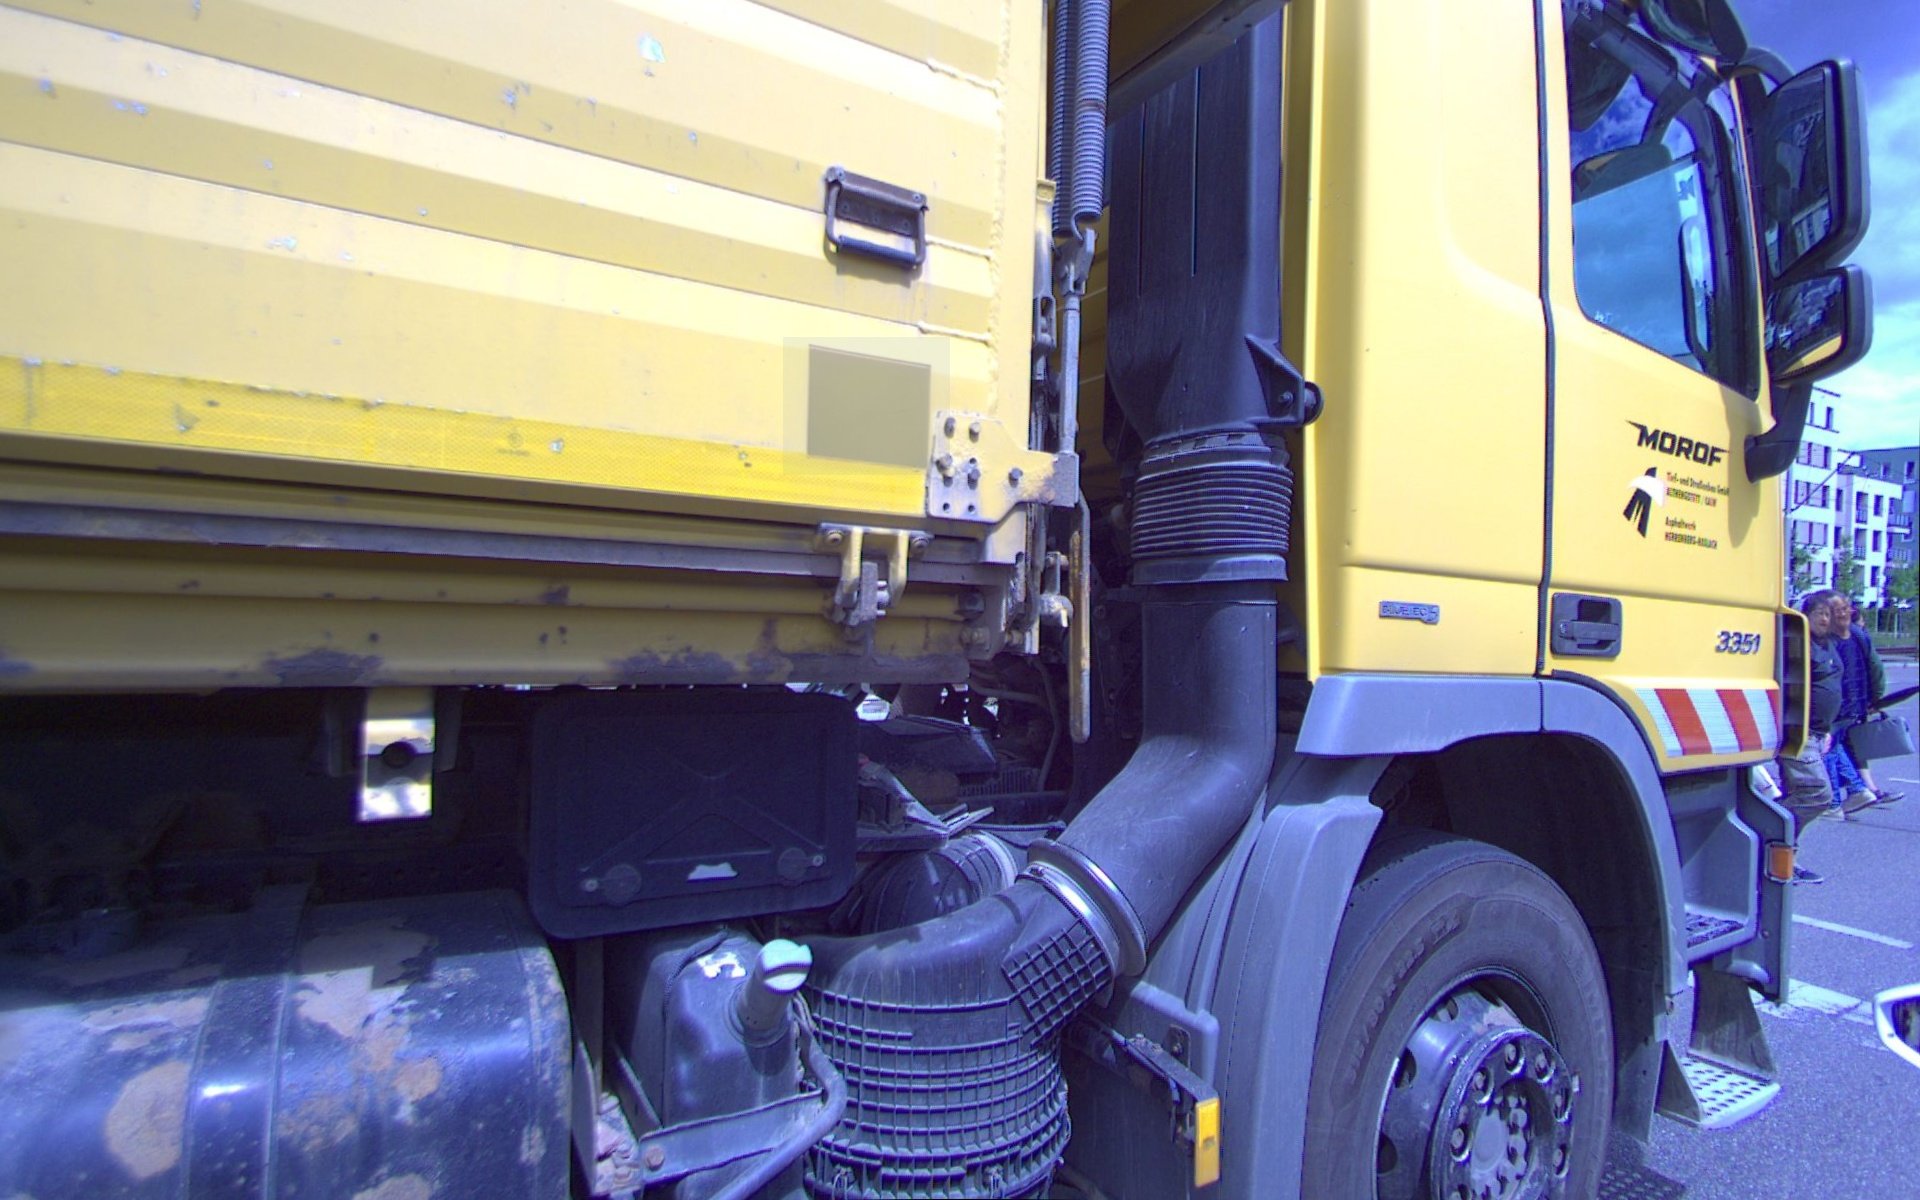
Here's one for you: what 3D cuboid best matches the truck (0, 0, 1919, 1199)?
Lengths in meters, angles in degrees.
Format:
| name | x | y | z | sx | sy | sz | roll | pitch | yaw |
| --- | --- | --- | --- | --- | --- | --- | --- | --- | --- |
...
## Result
| name | x | y | z | sx | sy | sz | roll | pitch | yaw |
| --- | --- | --- | --- | --- | --- | --- | --- | --- | --- |
| truck | -1.752 | -0.234 | 1.686 | 7.916 | 3.439 | 3.033 | 1 | 0 | -32 |

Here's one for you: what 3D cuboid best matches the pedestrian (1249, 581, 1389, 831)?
| name | x | y | z | sx | sy | sz | roll | pitch | yaw |
| --- | --- | --- | --- | --- | --- | --- | --- | --- | --- |
| pedestrian | 2.630 | 0.725 | 7.339 | 0.810 | 1.693 | 0.732 | 1 | -1 | 32 |

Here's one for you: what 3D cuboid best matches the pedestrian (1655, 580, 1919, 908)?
| name | x | y | z | sx | sy | sz | roll | pitch | yaw |
| --- | --- | --- | --- | --- | --- | --- | --- | --- | --- |
| pedestrian | 4.748 | 0.740 | 5.739 | 0.868 | 1.670 | 0.956 | 1 | 0 | -24 |

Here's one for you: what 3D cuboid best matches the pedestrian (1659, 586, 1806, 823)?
| name | x | y | z | sx | sy | sz | roll | pitch | yaw |
| --- | --- | --- | --- | --- | --- | --- | --- | --- | --- |
| pedestrian | 5.855 | 0.737 | 7.615 | 0.813 | 1.662 | 0.729 | 1 | 0 | 42 |

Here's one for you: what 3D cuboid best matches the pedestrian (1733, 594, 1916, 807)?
| name | x | y | z | sx | sy | sz | roll | pitch | yaw |
| --- | --- | --- | --- | --- | --- | --- | --- | --- | --- |
| pedestrian | 7.124 | 0.769 | 8.293 | 0.919 | 1.628 | 0.907 | 1 | 0 | -32 |

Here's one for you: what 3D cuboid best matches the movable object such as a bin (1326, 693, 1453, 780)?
| name | x | y | z | sx | sy | sz | roll | pitch | yaw |
| --- | --- | --- | --- | --- | --- | --- | --- | --- | --- |
| movable object such as a bin | 3.996 | 1.250 | 9.368 | 0.768 | 0.671 | 0.792 | 1 | 0 | -29 |

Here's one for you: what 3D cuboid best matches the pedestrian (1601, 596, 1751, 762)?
| name | x | y | z | sx | sy | sz | roll | pitch | yaw |
| --- | --- | --- | --- | --- | --- | --- | --- | --- | --- |
| pedestrian | 7.358 | 0.777 | 10.346 | 0.894 | 1.618 | 0.892 | 1 | 0 | -19 |

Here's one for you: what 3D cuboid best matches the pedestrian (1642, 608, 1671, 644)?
| name | x | y | z | sx | sy | sz | roll | pitch | yaw |
| --- | --- | --- | --- | --- | --- | --- | --- | --- | --- |
| pedestrian | 30.210 | 1.123 | 43.568 | 0.628 | 1.536 | 0.827 | 1 | 0 | -30 |

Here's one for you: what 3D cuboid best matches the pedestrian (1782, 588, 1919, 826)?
| name | x | y | z | sx | sy | sz | roll | pitch | yaw |
| --- | --- | --- | --- | --- | --- | --- | --- | --- | --- |
| pedestrian | 6.694 | 0.745 | 7.484 | 0.858 | 1.656 | 0.762 | 1 | 0 | 40 |

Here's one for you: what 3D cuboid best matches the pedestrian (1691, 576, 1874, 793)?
| name | x | y | z | sx | sy | sz | roll | pitch | yaw |
| --- | --- | --- | --- | --- | --- | --- | --- | --- | --- |
| pedestrian | 7.353 | 0.704 | 9.003 | 0.918 | 1.796 | 0.998 | 1 | 0 | -29 |

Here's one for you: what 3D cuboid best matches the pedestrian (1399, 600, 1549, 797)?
| name | x | y | z | sx | sy | sz | roll | pitch | yaw |
| --- | --- | --- | --- | --- | --- | --- | --- | --- | --- |
| pedestrian | 4.398 | 0.794 | 8.629 | 0.737 | 1.575 | 0.877 | 1 | 0 | -29 |

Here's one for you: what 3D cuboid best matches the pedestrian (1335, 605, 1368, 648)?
| name | x | y | z | sx | sy | sz | roll | pitch | yaw |
| --- | --- | --- | --- | --- | --- | --- | --- | --- | --- |
| pedestrian | 16.024 | 1.074 | 41.159 | 1.079 | 1.698 | 0.926 | 1 | 0 | 10 |

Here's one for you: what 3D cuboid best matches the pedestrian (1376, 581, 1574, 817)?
| name | x | y | z | sx | sy | sz | roll | pitch | yaw |
| --- | --- | --- | --- | --- | --- | --- | --- | --- | --- |
| pedestrian | 3.967 | 0.702 | 7.781 | 0.918 | 1.670 | 1.016 | 1 | 0 | -29 |
